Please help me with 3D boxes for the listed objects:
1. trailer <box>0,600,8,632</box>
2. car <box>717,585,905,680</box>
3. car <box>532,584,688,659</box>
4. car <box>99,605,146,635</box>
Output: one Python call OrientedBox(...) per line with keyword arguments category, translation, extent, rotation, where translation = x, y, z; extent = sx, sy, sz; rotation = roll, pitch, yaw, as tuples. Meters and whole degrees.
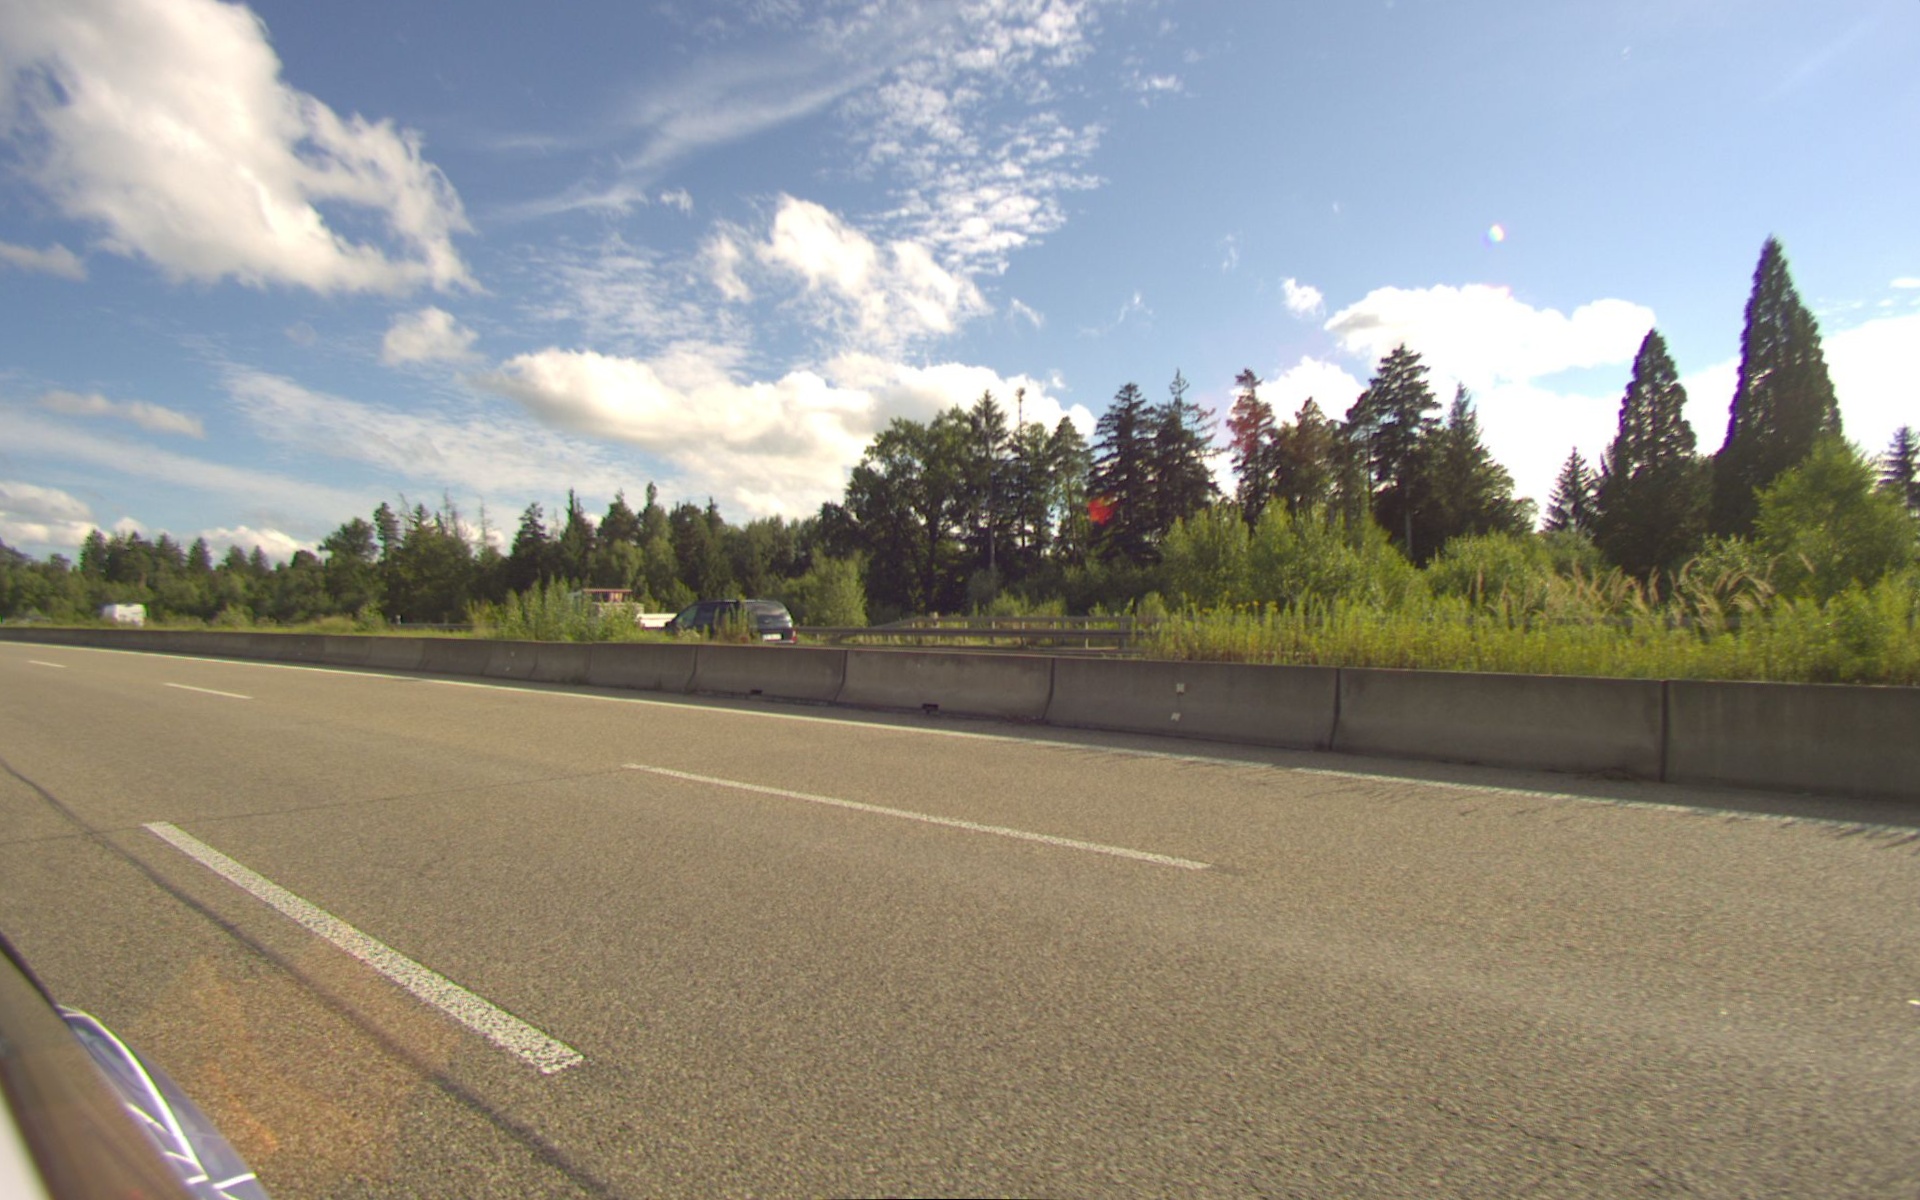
OrientedBox(category="trailer", translation=(-129.957, 2.180, 134.318), extent=(13.624, 4.039, 3.343), rotation=(-1, -1, 39))
OrientedBox(category="car", translation=(-3.376, 0.670, 22.576), extent=(3.998, 1.851, 1.973), rotation=(-1, 2, 41))
OrientedBox(category="car", translation=(-12.381, 0.720, 35.529), extent=(6.189, 2.335, 2.287), rotation=(-1, 3, 41))
OrientedBox(category="car", translation=(-66.954, 1.587, 80.862), extent=(5.200, 2.261, 2.044), rotation=(-1, 0, 40))
